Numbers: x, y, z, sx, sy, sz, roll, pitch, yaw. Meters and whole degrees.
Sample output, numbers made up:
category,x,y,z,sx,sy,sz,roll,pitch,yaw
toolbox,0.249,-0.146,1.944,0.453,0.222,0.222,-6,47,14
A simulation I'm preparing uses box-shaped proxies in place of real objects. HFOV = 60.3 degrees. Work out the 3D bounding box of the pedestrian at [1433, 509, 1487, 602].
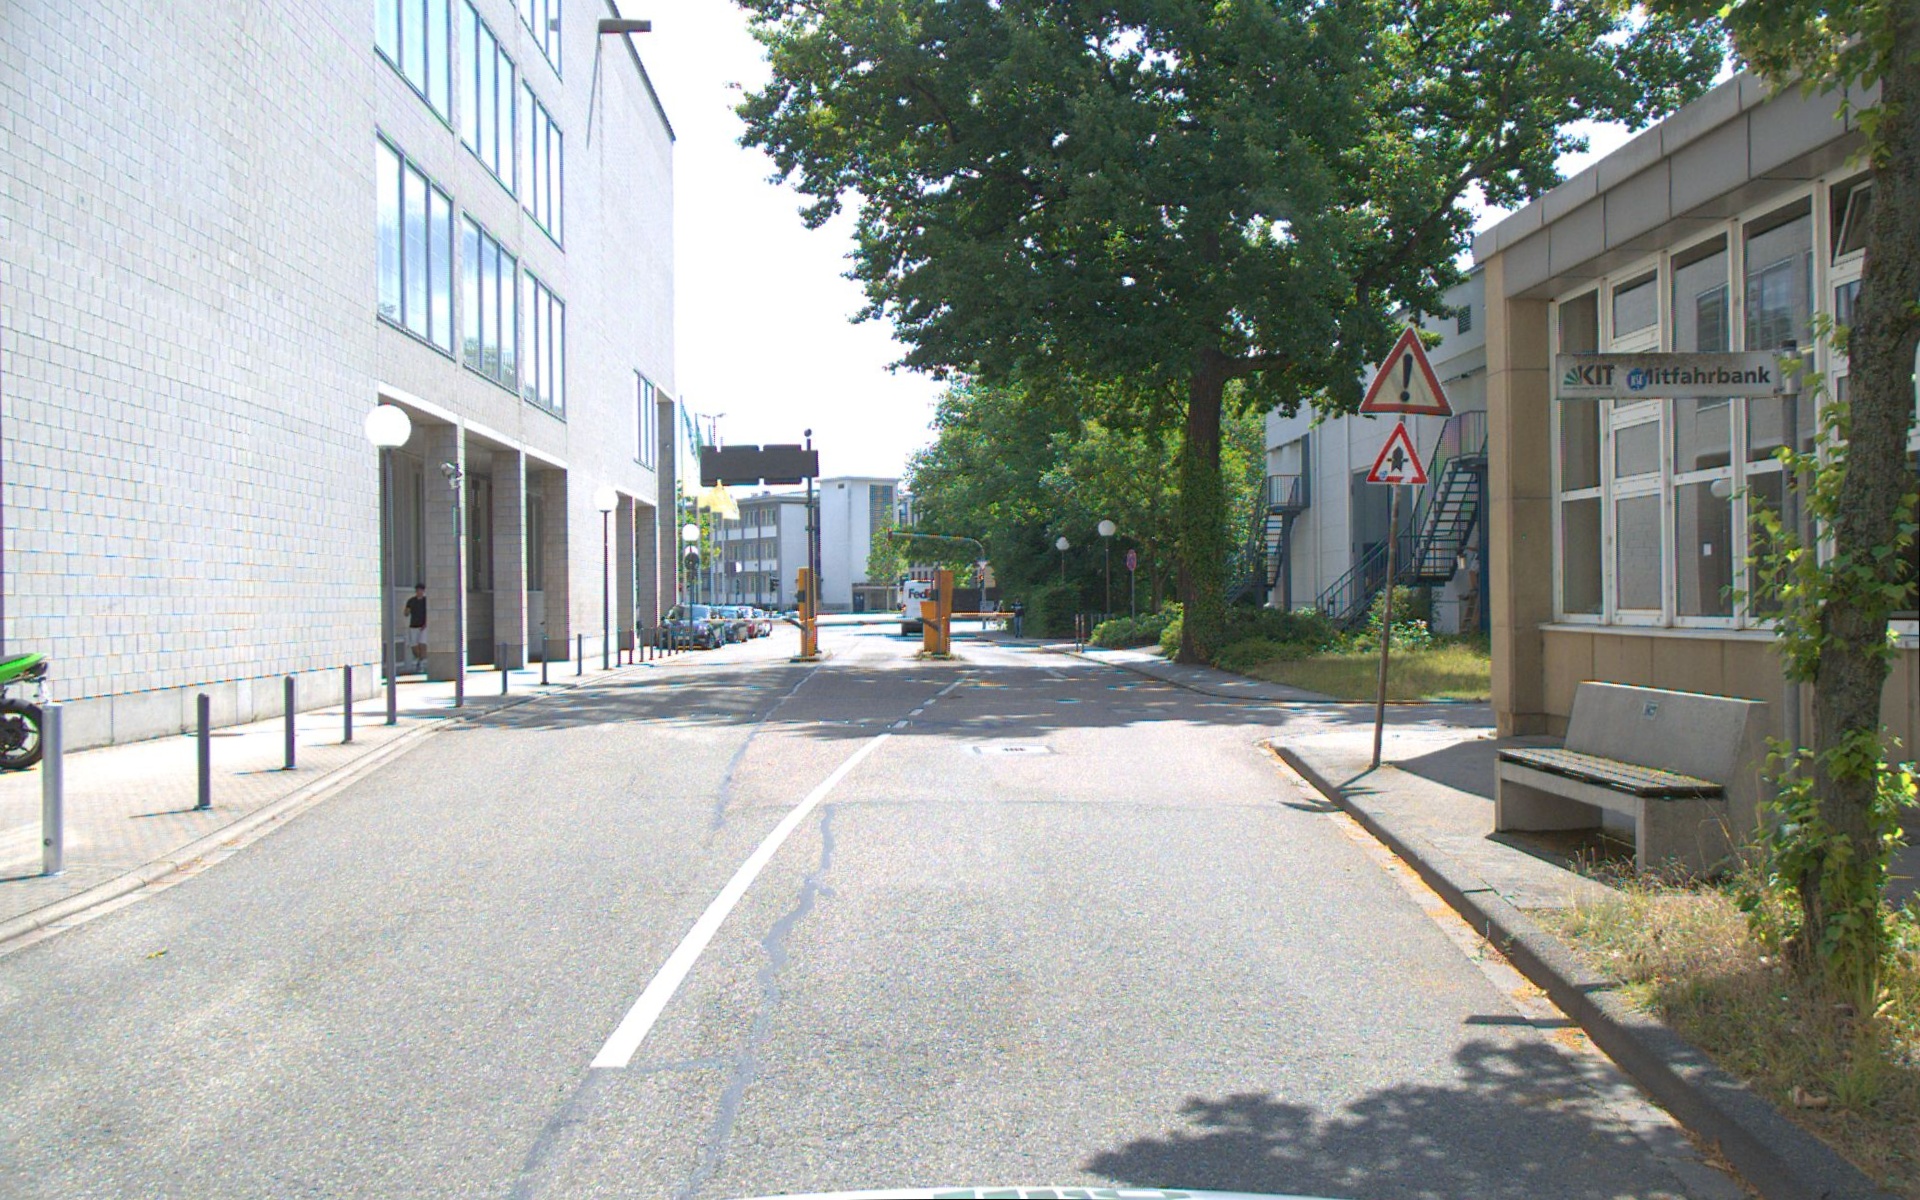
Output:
category,x,y,z,sx,sy,sz,roll,pitch,yaw
pedestrian,11.247,-0.985,37.234,0.908,2.049,0.949,-1,0,1

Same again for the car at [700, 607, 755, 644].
category,x,y,z,sx,sy,sz,roll,pitch,yaw
car,-9.476,1.006,67.778,1.823,1.402,5.012,2,0,-4

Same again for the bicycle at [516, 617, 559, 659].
category,x,y,z,sx,sy,sz,roll,pitch,yaw
bicycle,-11.407,1.012,44.740,0.815,1.088,2.467,0,-1,-7

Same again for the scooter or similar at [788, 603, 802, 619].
category,x,y,z,sx,sy,sz,roll,pitch,yaw
scooter or similar,-12.923,0.845,129.467,0.704,1.199,2.716,0,0,-13

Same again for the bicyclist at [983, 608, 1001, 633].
category,x,y,z,sx,sy,sz,roll,pitch,yaw
bicyclist,1.942,1.245,101.067,0.887,1.521,0.654,1,-1,-43

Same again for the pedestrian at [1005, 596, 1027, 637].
category,x,y,z,sx,sy,sz,roll,pitch,yaw
pedestrian,2.311,0.684,68.468,0.725,1.704,1.255,0,0,-6

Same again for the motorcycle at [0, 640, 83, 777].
category,x,y,z,sx,sy,sz,roll,pitch,yaw
motorcycle,-8.958,0.949,14.479,2.128,1.158,0.772,0,0,-13

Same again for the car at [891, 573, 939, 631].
category,x,y,z,sx,sy,sz,roll,pitch,yaw
car,-2.140,0.089,77.558,2.053,2.611,5.598,-1,0,-3

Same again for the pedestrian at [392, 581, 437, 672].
category,x,y,z,sx,sy,sz,roll,pitch,yaw
pedestrian,-11.623,0.567,35.268,0.716,1.913,0.719,0,0,-3

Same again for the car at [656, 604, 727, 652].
category,x,y,z,sx,sy,sz,roll,pitch,yaw
car,-9.003,0.912,55.852,1.822,1.493,4.716,1,0,-3

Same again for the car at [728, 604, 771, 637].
category,x,y,z,sx,sy,sz,roll,pitch,yaw
car,-10.033,0.968,78.871,1.643,1.493,3.909,2,0,-2

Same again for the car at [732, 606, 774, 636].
category,x,y,z,sx,sy,sz,roll,pitch,yaw
car,-10.473,1.058,84.003,1.643,1.420,4.660,2,0,-2

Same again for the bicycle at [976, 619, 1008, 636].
category,x,y,z,sx,sy,sz,roll,pitch,yaw
bicycle,1.984,1.673,101.098,2.090,1.013,0.668,1,-1,-43
